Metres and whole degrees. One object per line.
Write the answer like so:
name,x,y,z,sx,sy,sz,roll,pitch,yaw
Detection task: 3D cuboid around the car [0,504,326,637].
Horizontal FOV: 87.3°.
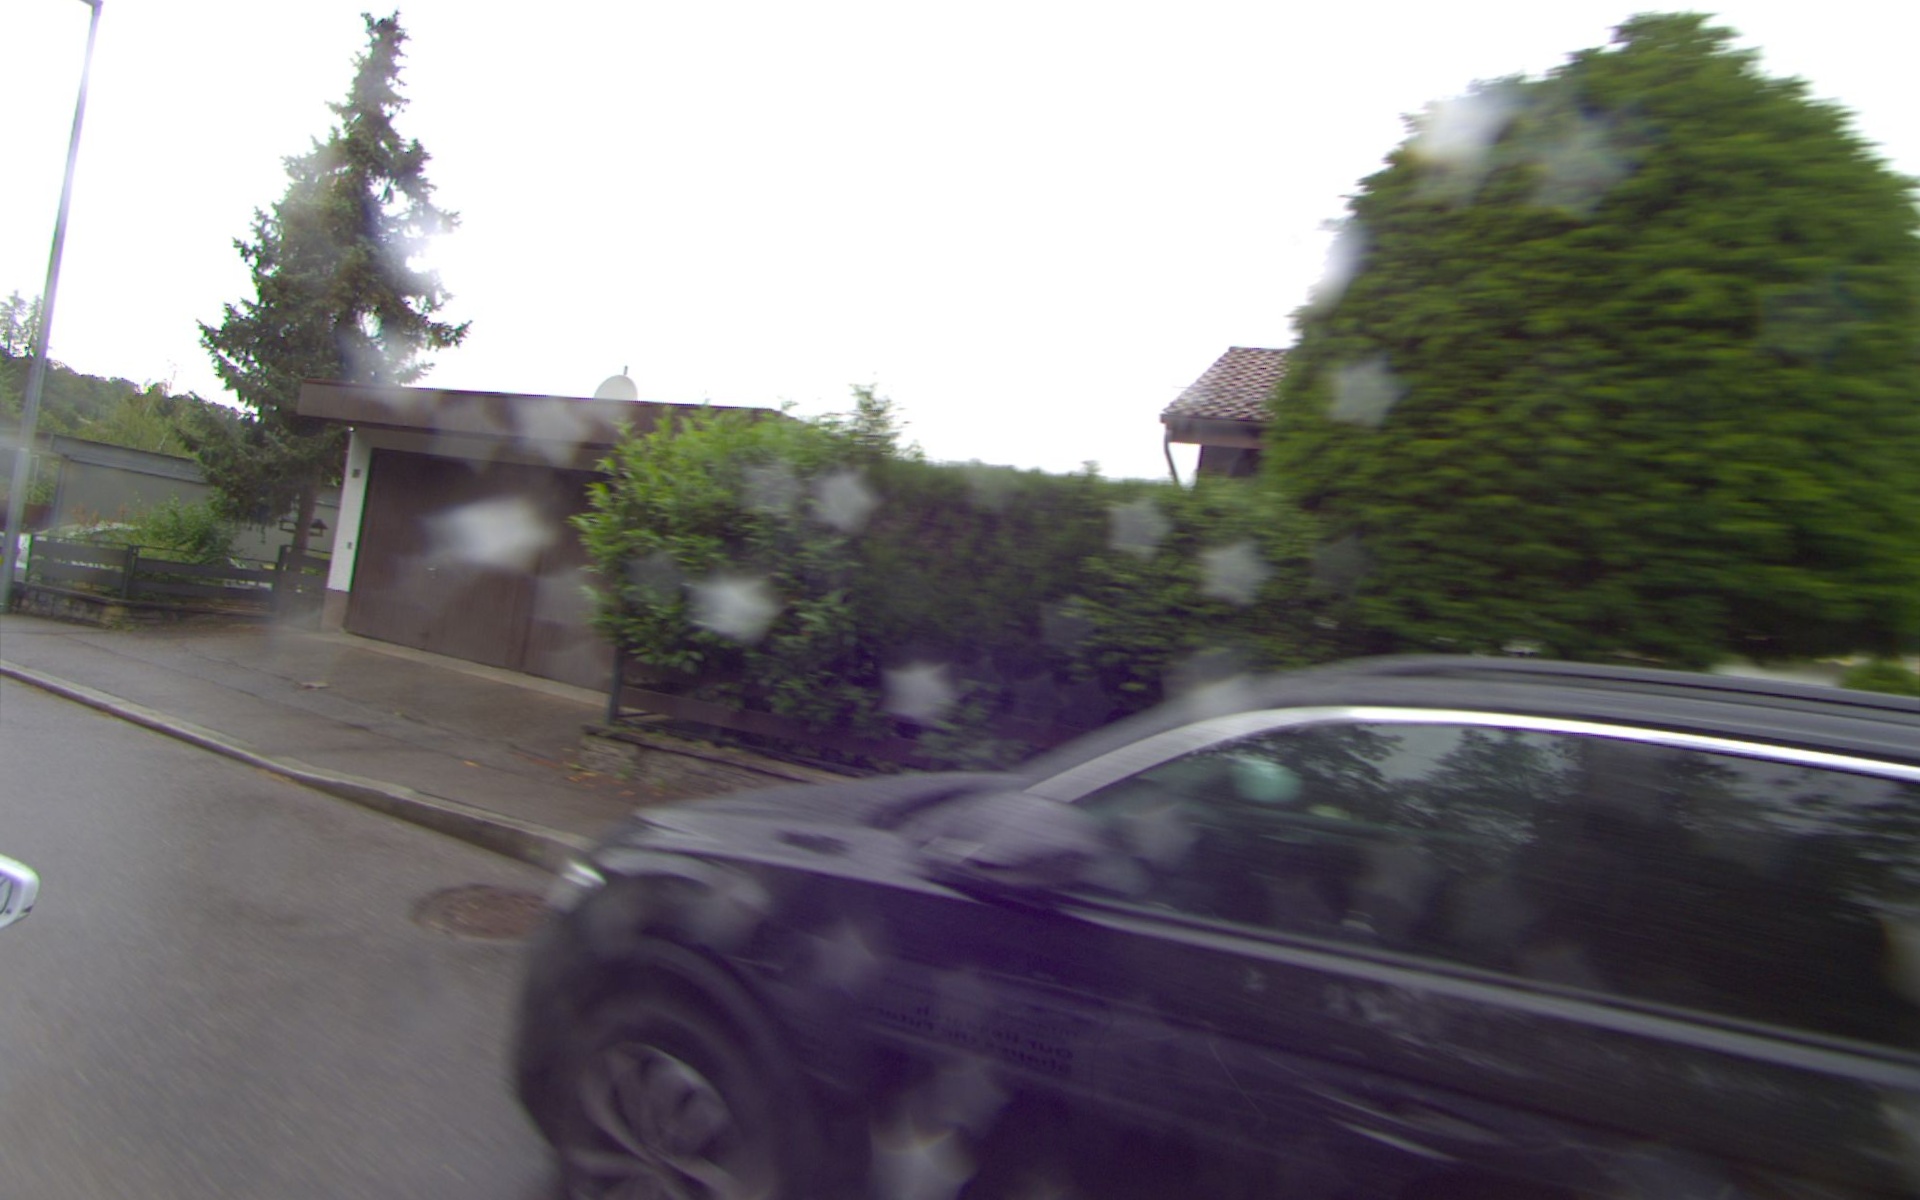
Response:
car,-12.825,-0.409,15.986,1.916,1.430,4.213,4,-5,43

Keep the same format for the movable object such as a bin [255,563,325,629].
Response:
movable object such as a bin,-12.354,-0.065,18.553,0.948,1.071,0.566,7,1,-38

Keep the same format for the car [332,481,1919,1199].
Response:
car,0.889,0.832,2.210,4.403,1.610,1.879,7,-1,30
